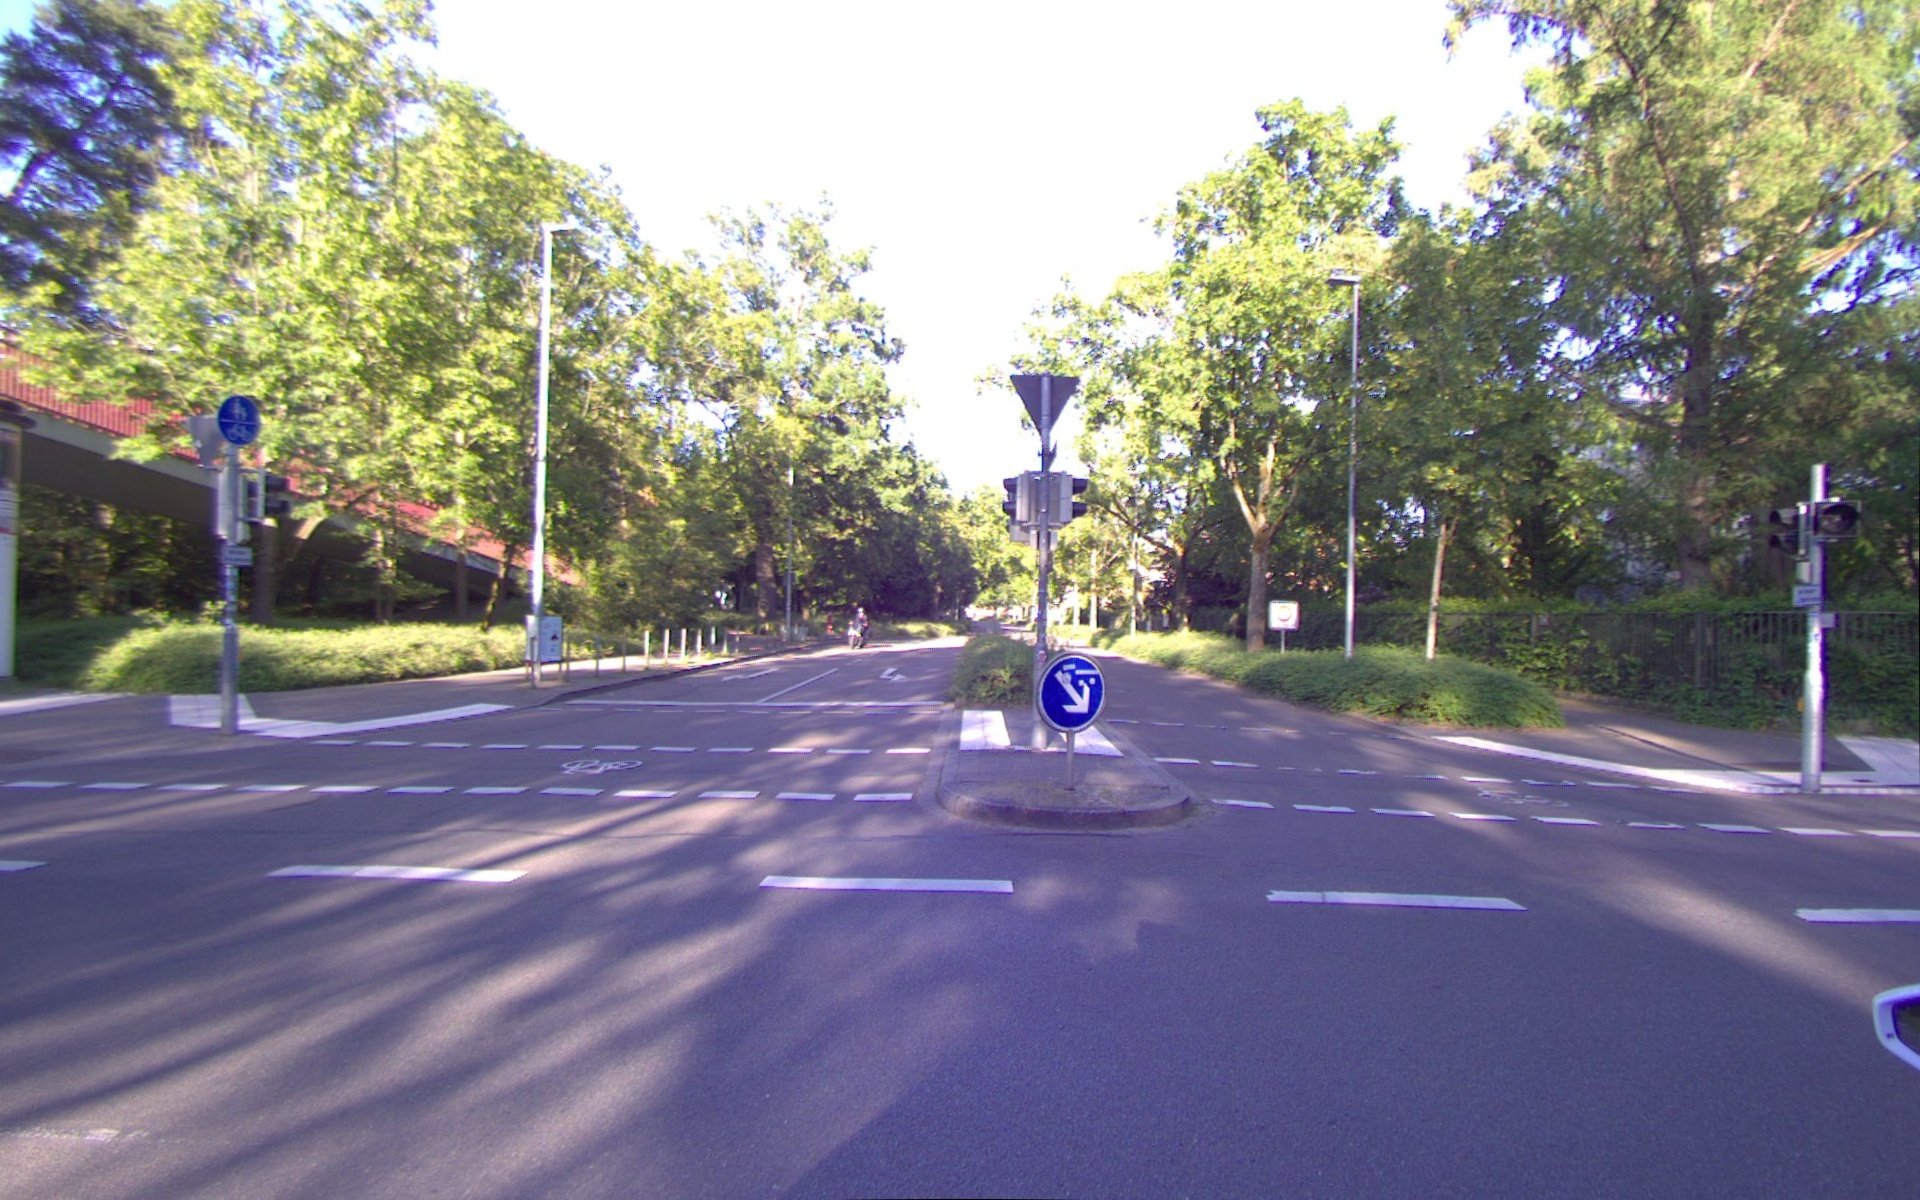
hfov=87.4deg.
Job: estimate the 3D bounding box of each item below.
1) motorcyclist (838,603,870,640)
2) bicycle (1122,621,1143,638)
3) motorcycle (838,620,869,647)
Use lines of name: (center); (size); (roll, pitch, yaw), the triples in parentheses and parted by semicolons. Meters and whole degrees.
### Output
motorcyclist: (-4.421, 0.885, 41.861); (0.932, 1.490, 1.070); (1, 0, 17)
bicycle: (12.341, 2.090, 71.732); (0.870, 1.216, 2.324); (0, -1, 25)
motorcycle: (-4.431, 1.380, 41.896); (0.514, 1.083, 2.289); (1, -1, 14)
